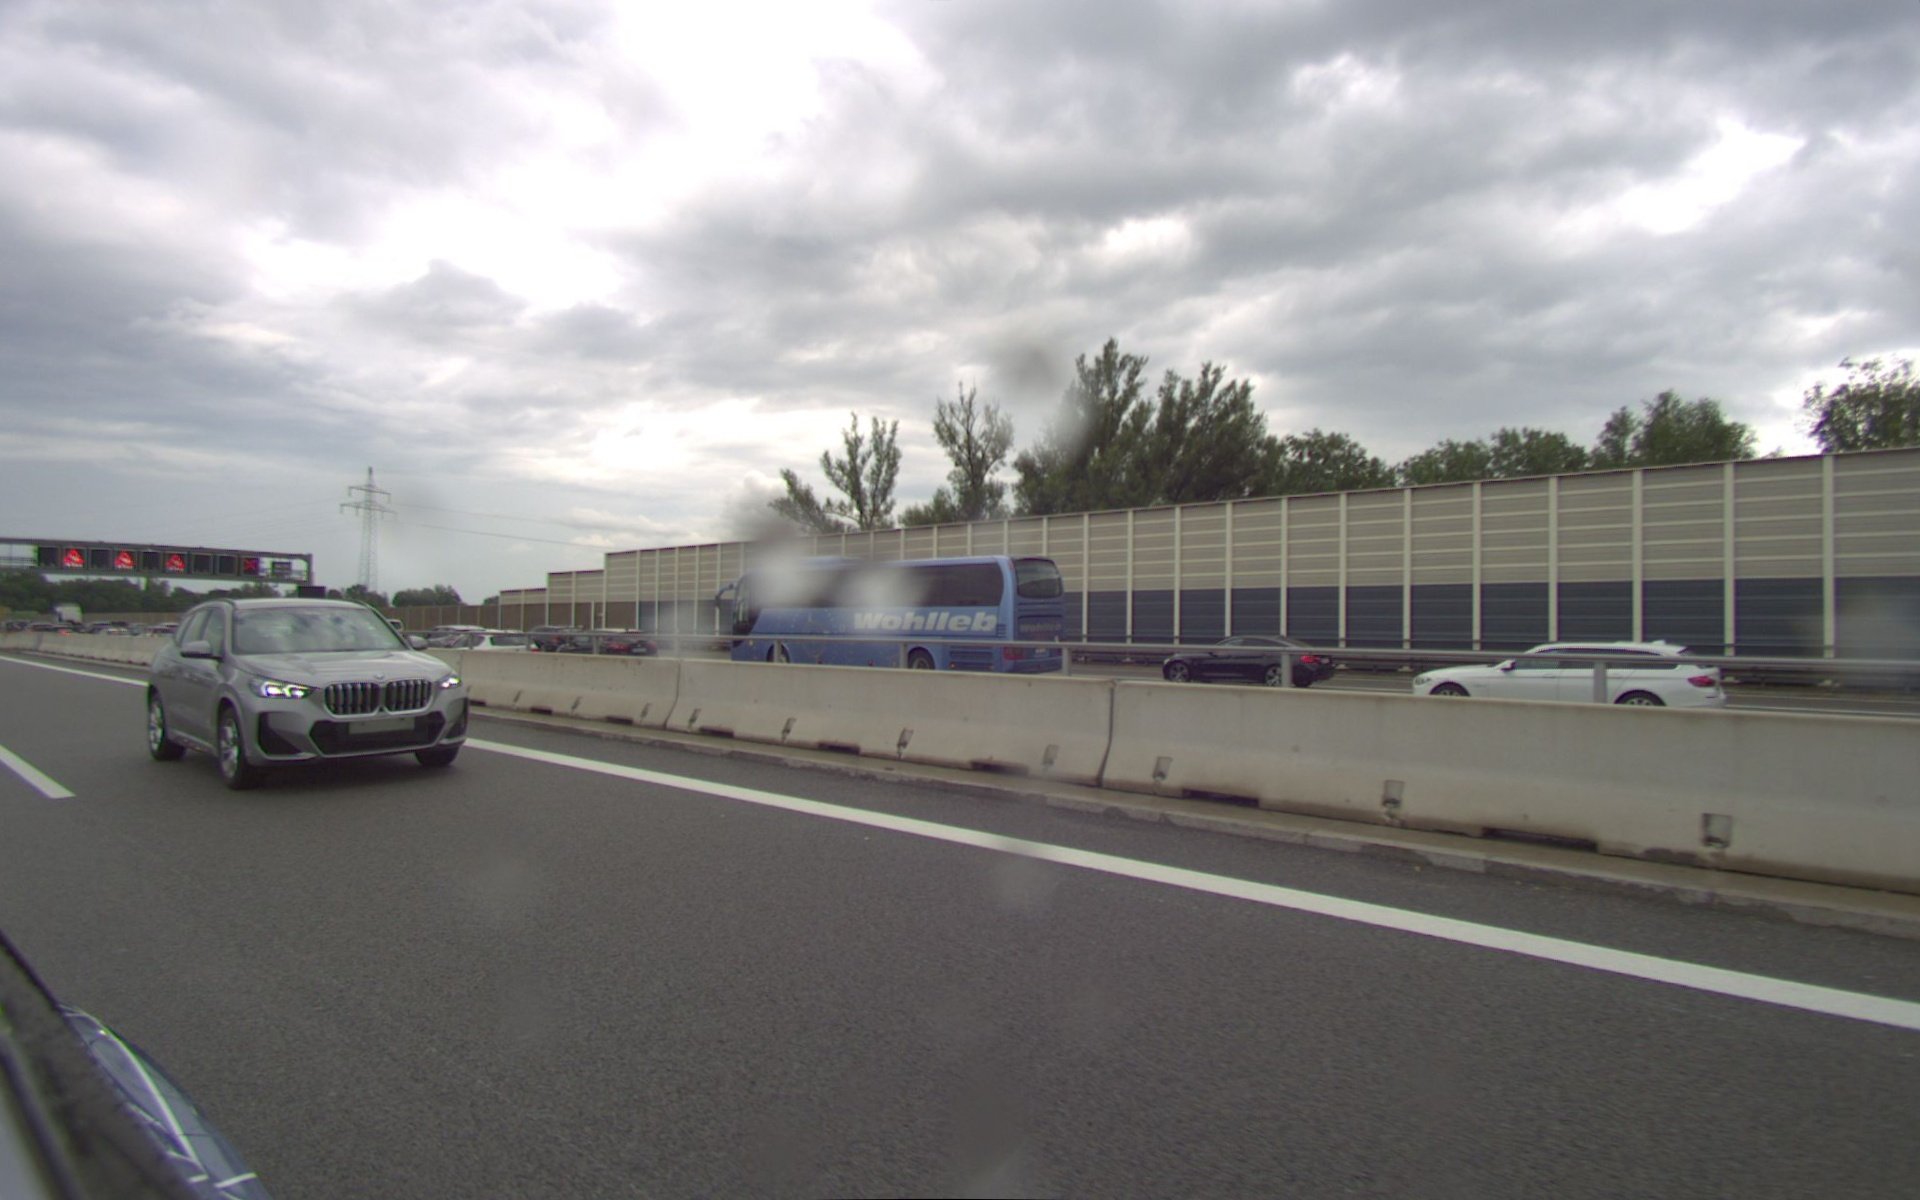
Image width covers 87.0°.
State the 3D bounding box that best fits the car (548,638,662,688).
[{"bbox_3d":[-11.658,2.012,33.125,4.175,1.537,1.729,-2,-3,41],"label":"car"}]

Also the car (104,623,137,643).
[{"bbox_3d":[-81.789,3.238,98.603,4.162,1.862,1.730,-2,-2,40],"label":"car"}]

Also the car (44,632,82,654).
[{"bbox_3d":[-68.386,3.259,77.142,3.746,1.643,1.729,-2,-3,41],"label":"car"}]

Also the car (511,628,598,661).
[{"bbox_3d":[-20.565,2.223,51.229,5.685,1.623,1.729,-2,-3,41],"label":"car"}]

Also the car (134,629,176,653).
[{"bbox_3d":[-58.460,2.966,73.509,4.165,1.643,1.728,-2,-3,42],"label":"car"}]

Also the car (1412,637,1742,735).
[{"bbox_3d":[10.946,1.432,18.206,4.818,1.537,1.862,-2,-3,41],"label":"car"}]

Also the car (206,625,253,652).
[{"bbox_3d":[-45.733,2.397,63.376,3.617,1.592,1.604,-2,-3,41],"label":"car"}]

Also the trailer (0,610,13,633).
[{"bbox_3d":[-171.966,3.855,180.544,12.966,3.963,2.998,-1,-2,41],"label":"trailer"}]

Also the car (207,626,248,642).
[{"bbox_3d":[-65.003,2.990,89.814,4.568,1.411,1.845,-2,-2,39],"label":"car"}]

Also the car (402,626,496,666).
[{"bbox_3d":[-20.961,1.840,41.429,4.924,1.537,1.729,-2,-3,41],"label":"car"}]

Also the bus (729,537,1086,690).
[{"bbox_3d":[-2.038,0.499,30.117,11.876,3.787,3.059,-2,-3,41],"label":"bus"}]

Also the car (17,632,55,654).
[{"bbox_3d":[-76.943,3.562,84.291,5.109,1.758,1.860,-2,-3,42],"label":"car"}]

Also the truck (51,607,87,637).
[{"bbox_3d":[-119.662,2.970,135.894,6.047,3.917,2.724,-2,-3,41],"label":"truck"}]

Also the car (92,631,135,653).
[{"bbox_3d":[-54.945,2.731,65.673,3.574,1.404,1.555,-2,-3,41],"label":"car"}]

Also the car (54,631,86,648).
[{"bbox_3d":[-84.249,3.706,95.834,3.871,1.590,1.665,-2,-2,40],"label":"car"}]

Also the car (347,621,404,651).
[{"bbox_3d":[-38.411,2.391,66.502,4.778,1.908,1.730,-2,-3,40],"label":"car"}]

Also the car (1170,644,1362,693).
[{"bbox_3d":[8.007,1.754,26.733,4.491,1.122,1.862,-2,-3,41],"label":"car"}]

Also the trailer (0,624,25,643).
[{"bbox_3d":[-88.574,3.134,93.815,6.042,1.722,2.122,-1,-2,41],"label":"trailer"}]

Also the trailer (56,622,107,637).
[{"bbox_3d":[-113.117,3.800,130.176,16.339,1.842,2.724,-2,-3,41],"label":"trailer"}]

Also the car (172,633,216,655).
[{"bbox_3d":[-58.615,3.324,77.399,4.388,1.643,1.730,-2,-2,40],"label":"car"}]

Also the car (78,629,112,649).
[{"bbox_3d":[-75.015,3.383,87.782,4.165,1.643,1.728,-2,-3,42],"label":"car"}]

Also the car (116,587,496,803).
[{"bbox_3d":[-6.621,0.786,9.989,4.911,1.637,1.817,-2,-2,40],"label":"car"}]

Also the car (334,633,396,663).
[{"bbox_3d":[-33.025,2.629,56.170,4.175,1.623,1.729,-2,-3,41],"label":"car"}]

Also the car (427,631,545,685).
[{"bbox_3d":[-14.473,1.706,30.826,4.175,1.537,1.729,-2,-3,41],"label":"car"}]

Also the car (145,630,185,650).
[{"bbox_3d":[-67.755,3.416,86.191,4.522,1.643,1.803,-2,-3,40],"label":"car"}]

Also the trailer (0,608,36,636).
[{"bbox_3d":[-108.191,2.546,116.118,6.047,3.162,2.424,-2,-3,41],"label":"trailer"}]
